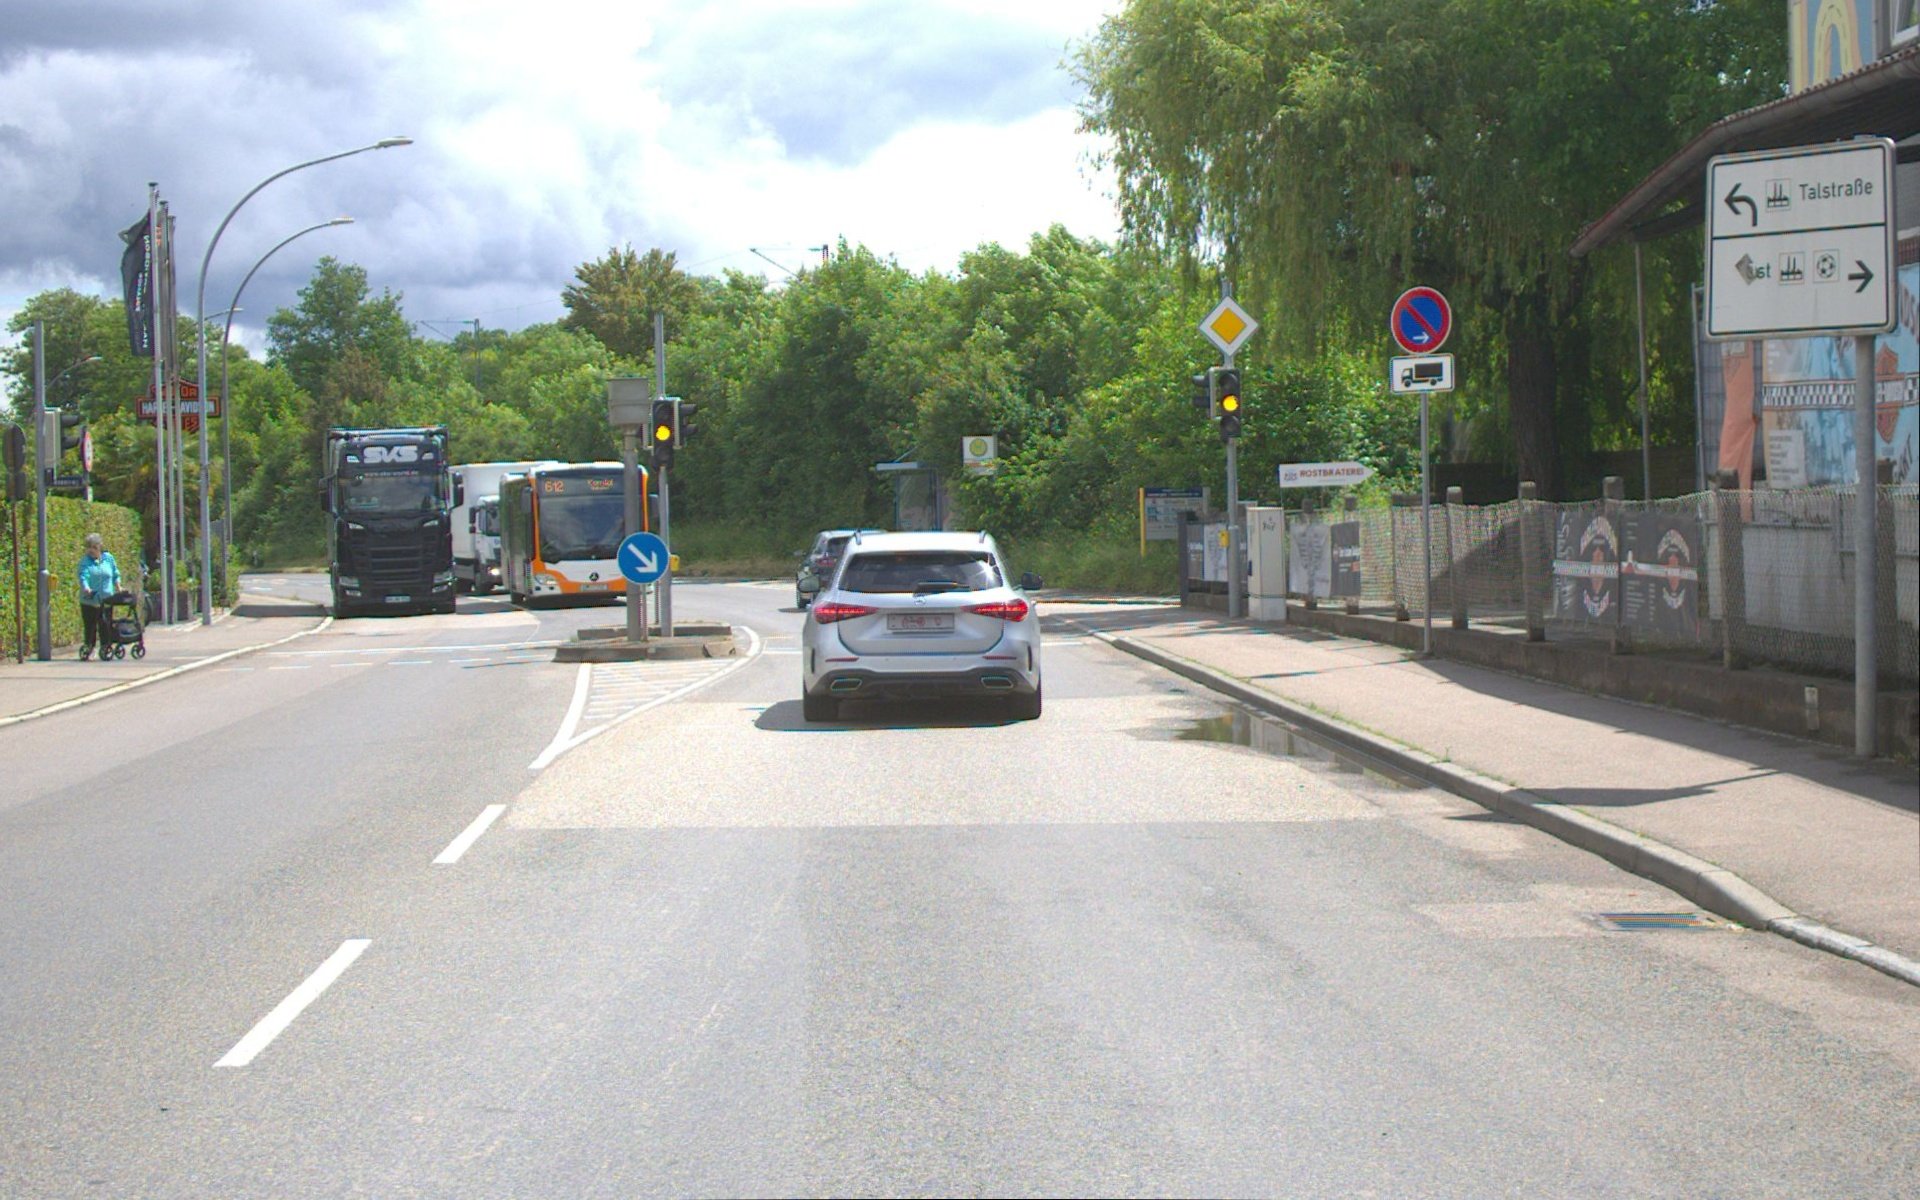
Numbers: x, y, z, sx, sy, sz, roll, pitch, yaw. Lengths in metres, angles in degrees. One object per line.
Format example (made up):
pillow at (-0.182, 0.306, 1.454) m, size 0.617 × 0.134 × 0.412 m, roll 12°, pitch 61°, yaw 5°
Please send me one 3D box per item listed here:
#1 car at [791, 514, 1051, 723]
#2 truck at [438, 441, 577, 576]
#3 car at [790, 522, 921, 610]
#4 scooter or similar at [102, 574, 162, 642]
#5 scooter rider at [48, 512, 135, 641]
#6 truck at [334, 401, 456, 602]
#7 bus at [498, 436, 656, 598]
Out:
car at (-0.333, 0.087, 27.210) m, size 1.884 × 1.503 × 4.001 m, roll -1°, pitch 2°, yaw -1°
truck at (-12.766, -2.551, 96.346) m, size 2.839 × 3.528 × 9.728 m, roll -2°, pitch 2°, yaw -13°
car at (-1.918, -0.638, 61.958) m, size 1.884 × 1.503 × 4.001 m, roll -1°, pitch 2°, yaw -8°
scooter or similar at (-10.315, 0.095, 42.842) m, size 0.611 × 0.829 × 0.659 m, roll 1°, pitch 1°, yaw -2°
scooter rider at (-10.882, -0.302, 43.096) m, size 0.878 × 1.584 × 0.796 m, roll -1°, pitch 1°, yaw -2°
truck at (-12.348, -2.115, 75.651) m, size 2.428 × 4.117 × 9.153 m, roll 1°, pitch 1°, yaw -8°
bus at (-8.741, -1.855, 77.321) m, size 2.777 × 3.255 × 12.127 m, roll -2°, pitch 2°, yaw -9°
